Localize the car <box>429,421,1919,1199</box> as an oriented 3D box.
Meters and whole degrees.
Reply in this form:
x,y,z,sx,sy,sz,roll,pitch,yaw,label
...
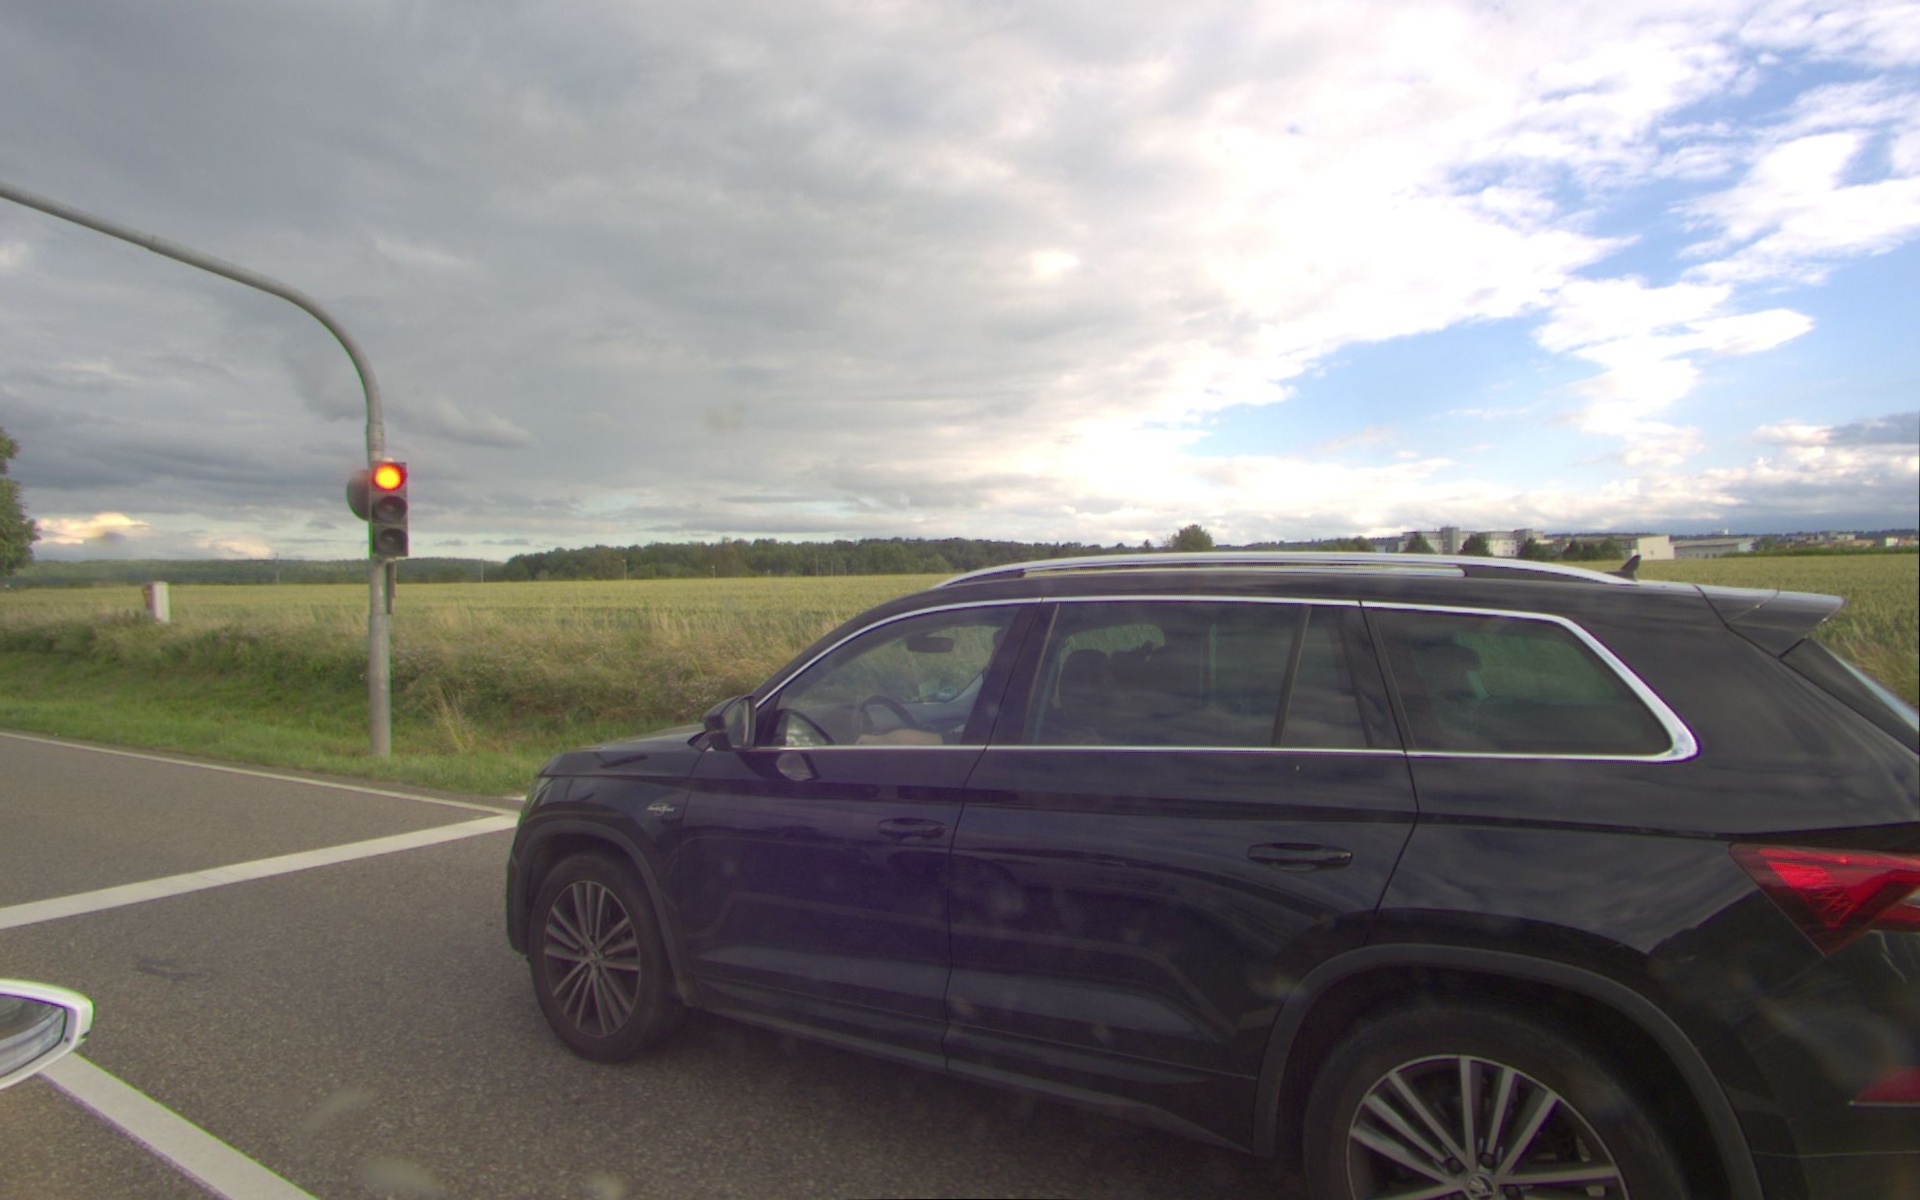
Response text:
x,y,z,sx,sy,sz,roll,pitch,yaw,label
0.349,0.656,3.401,4.492,1.730,1.833,-1,-2,32,car
